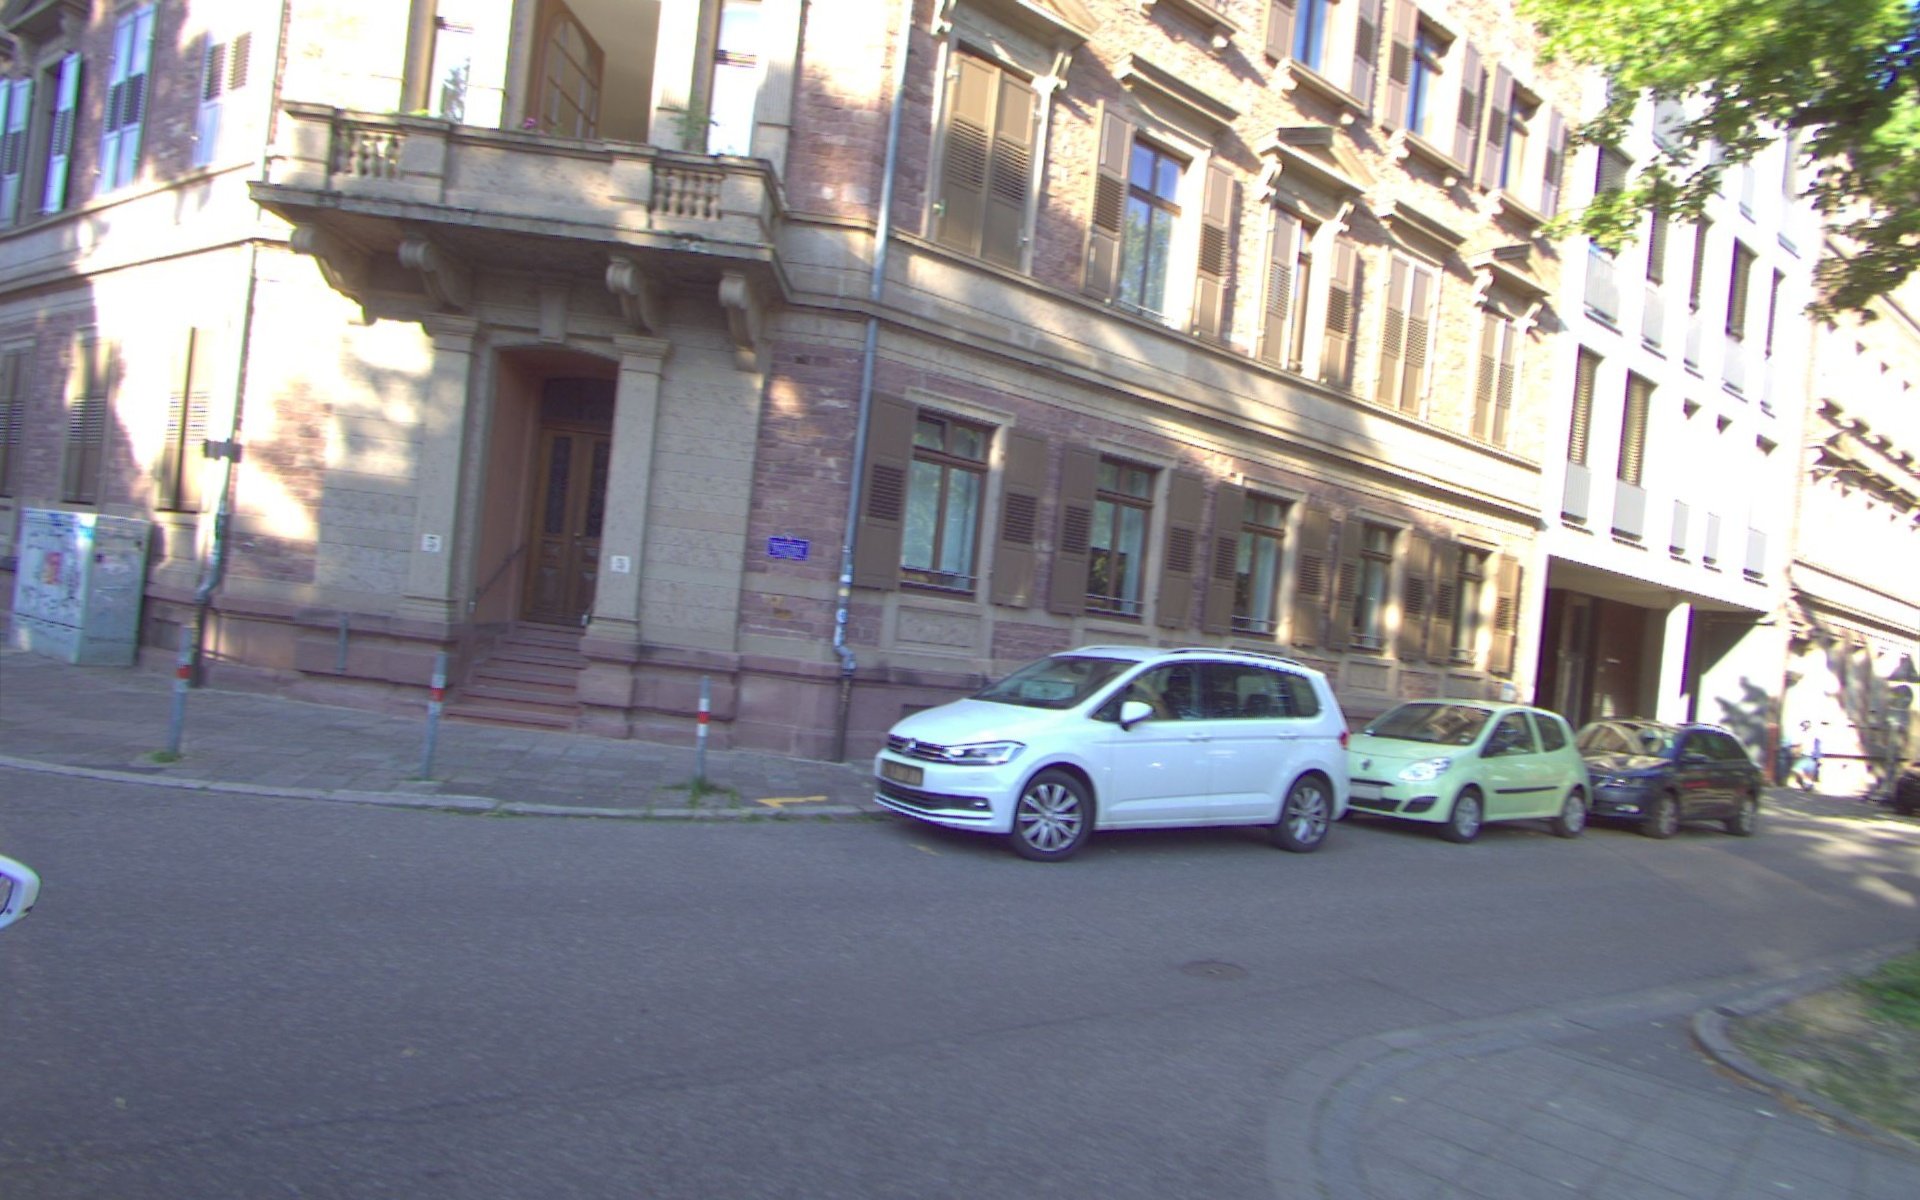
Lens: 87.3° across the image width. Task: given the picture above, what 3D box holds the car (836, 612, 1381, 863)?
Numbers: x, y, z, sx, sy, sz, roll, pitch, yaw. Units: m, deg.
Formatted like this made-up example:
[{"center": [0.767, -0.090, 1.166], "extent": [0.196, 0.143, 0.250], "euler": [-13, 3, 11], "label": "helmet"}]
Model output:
[{"center": [1.402, 1.173, 8.691], "extent": [4.452, 1.668, 1.861], "euler": [8, -4, -32], "label": "car"}]

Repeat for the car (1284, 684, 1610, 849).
[{"center": [5.678, 1.895, 11.611], "extent": [3.689, 1.506, 1.728], "euler": [8, -4, -34], "label": "car"}]

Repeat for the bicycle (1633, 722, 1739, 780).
[{"center": [17.523, 3.643, 24.312], "extent": [2.059, 1.130, 0.682], "euler": [7, -1, -5], "label": "bicycle"}]

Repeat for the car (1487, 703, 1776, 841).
[{"center": [9.296, 2.364, 13.842], "extent": [4.122, 1.506, 1.729], "euler": [7, -4, -32], "label": "car"}]

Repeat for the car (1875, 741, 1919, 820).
[{"center": [22.799, 4.219, 22.734], "extent": [4.548, 1.586, 1.982], "euler": [7, -1, -33], "label": "car"}]

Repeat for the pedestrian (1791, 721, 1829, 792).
[{"center": [21.227, 3.902, 25.119], "extent": [0.423, 1.694, 0.524], "euler": [6, 0, -39], "label": "pedestrian"}]
